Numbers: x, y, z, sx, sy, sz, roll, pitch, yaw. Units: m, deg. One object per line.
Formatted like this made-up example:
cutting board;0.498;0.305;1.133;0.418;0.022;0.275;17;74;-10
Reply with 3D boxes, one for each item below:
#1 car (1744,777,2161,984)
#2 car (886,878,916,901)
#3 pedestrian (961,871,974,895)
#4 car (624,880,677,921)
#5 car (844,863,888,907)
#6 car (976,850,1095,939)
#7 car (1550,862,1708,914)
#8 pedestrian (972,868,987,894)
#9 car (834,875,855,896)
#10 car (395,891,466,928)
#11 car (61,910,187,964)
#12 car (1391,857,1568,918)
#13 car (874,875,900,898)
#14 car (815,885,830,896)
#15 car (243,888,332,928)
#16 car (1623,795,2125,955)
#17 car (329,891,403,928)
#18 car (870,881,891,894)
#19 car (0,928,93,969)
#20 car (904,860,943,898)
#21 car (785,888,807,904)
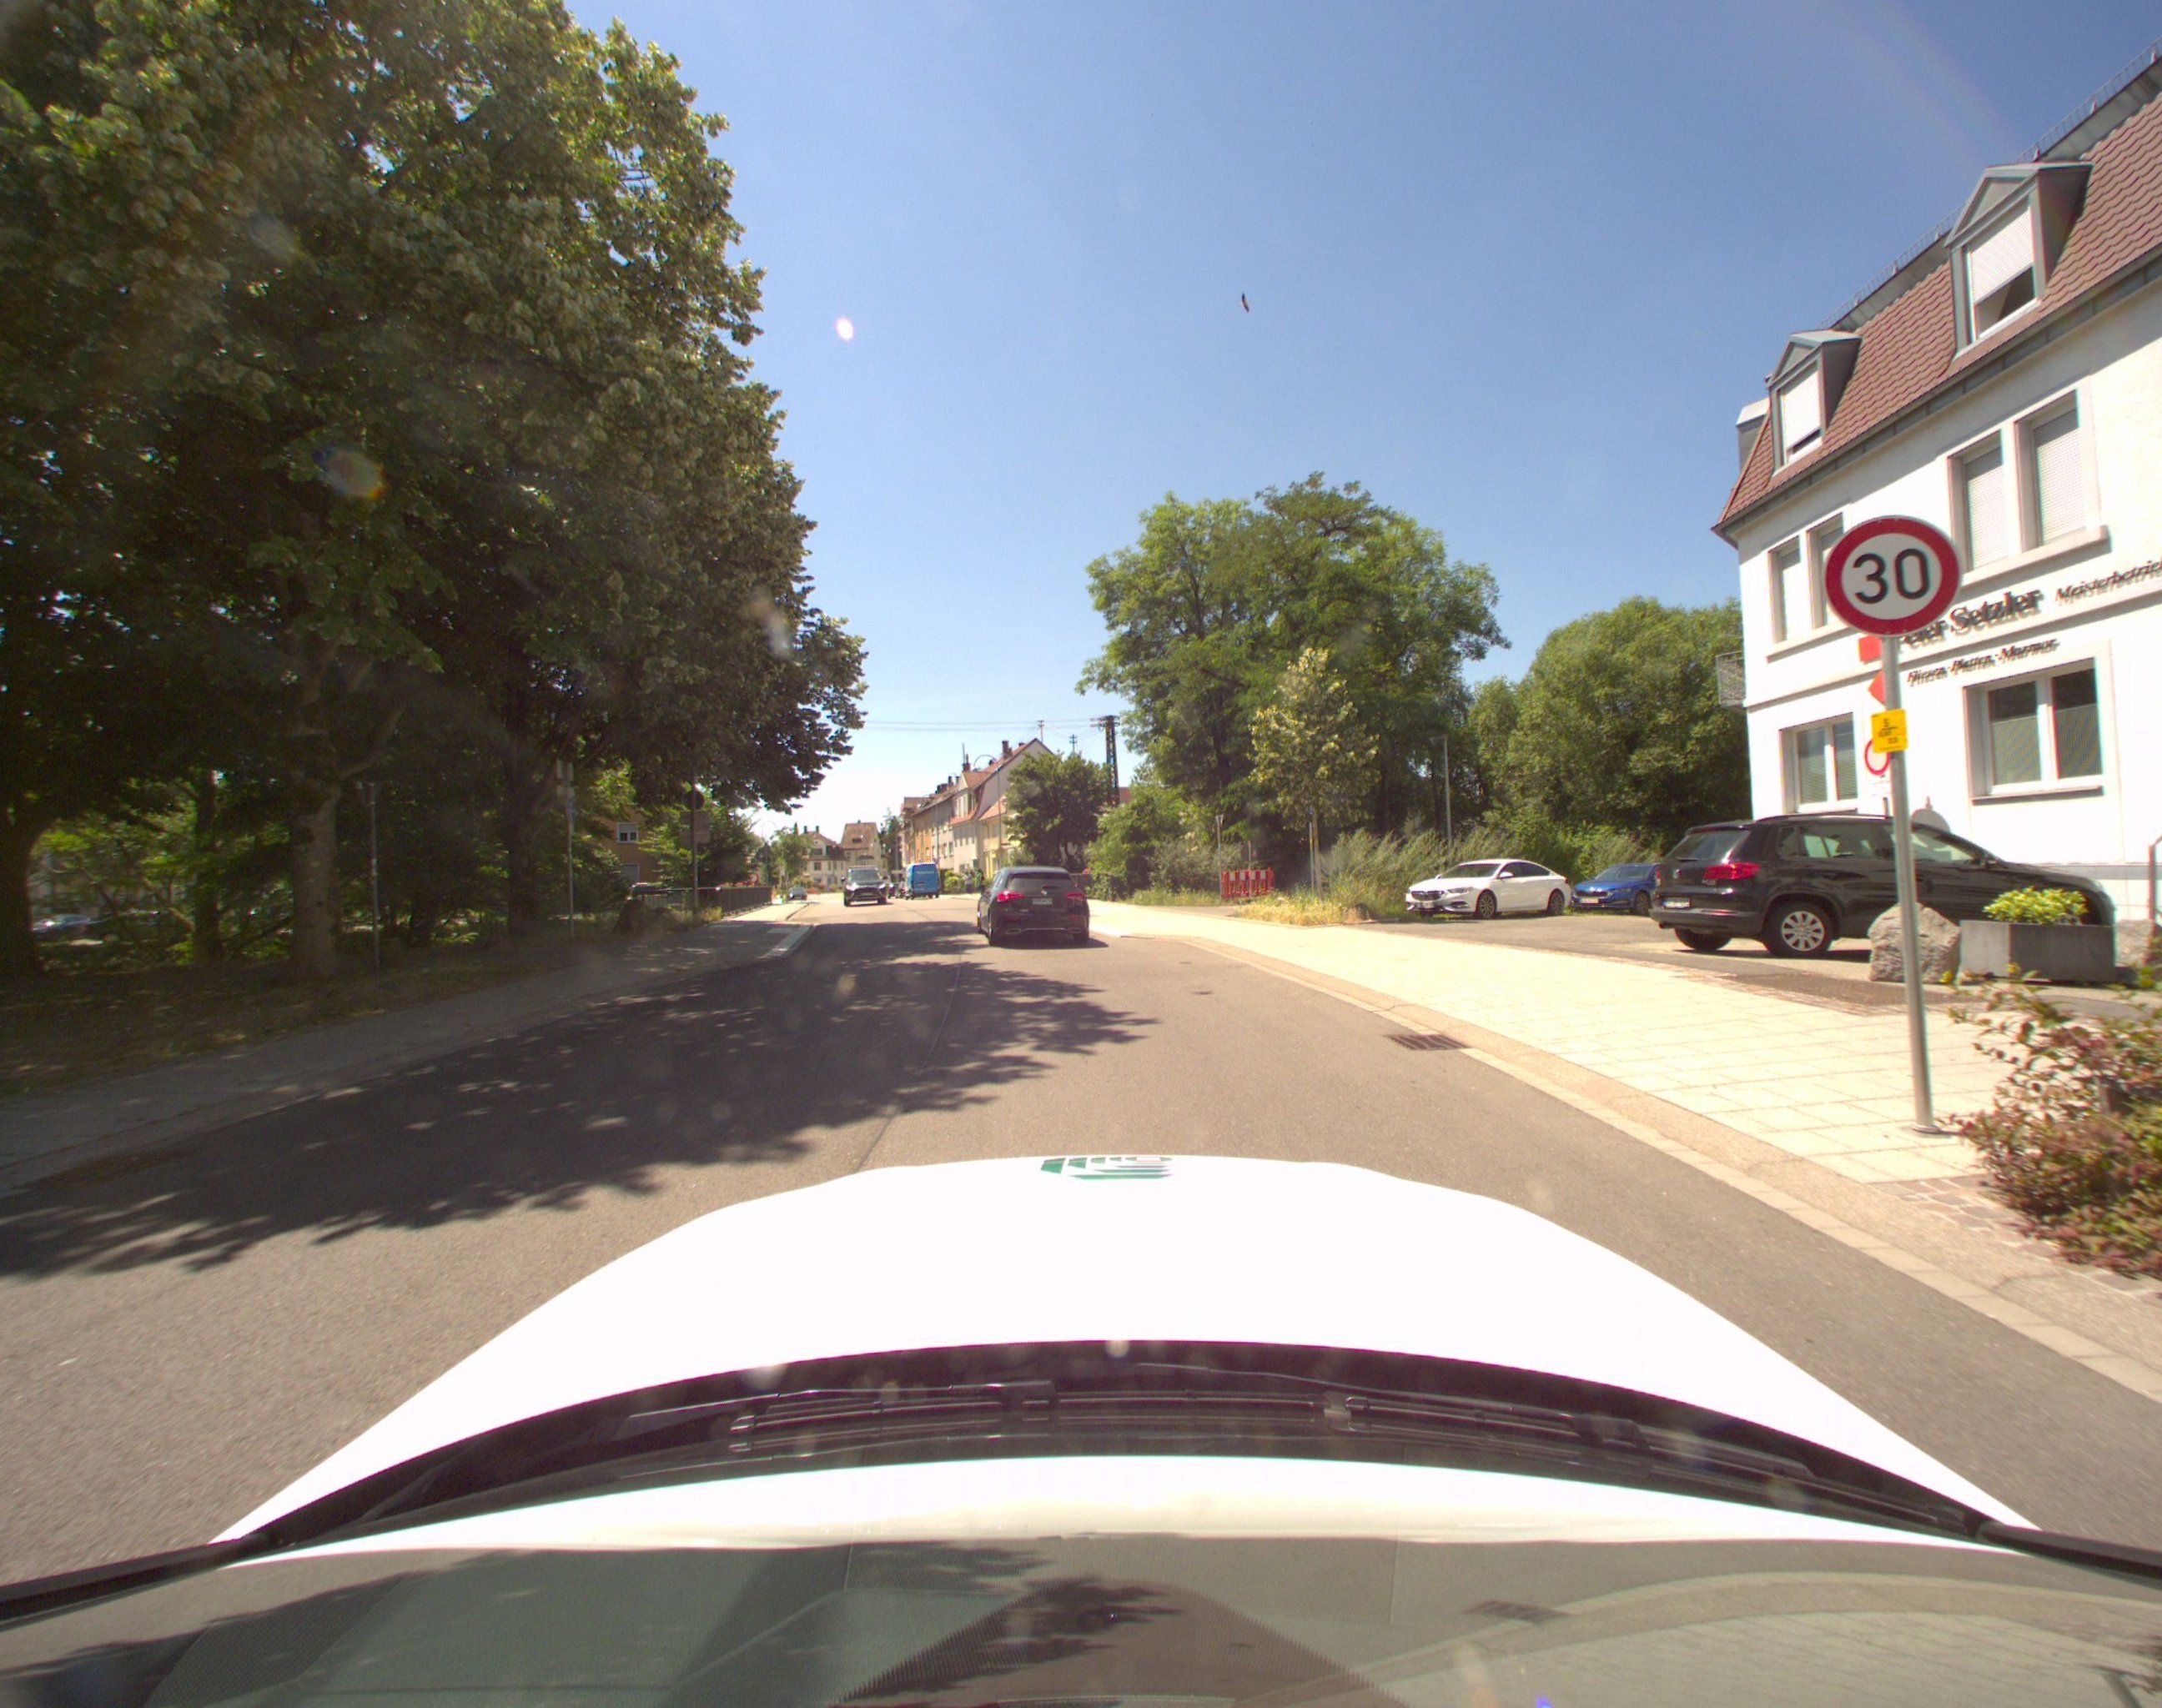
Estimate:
car;9.089;0.233;7.662;4.055;1.716;1.859;-1;-1;5
car;-15.416;2.991;69.528;1.999;1.746;4.301;-1;-1;-19
pedestrian;-7.640;1.962;54.888;0.616;1.613;0.831;-1;-2;-23
car;-23.431;2.503;44.499;2.000;2.014;3.973;-1;-1;-20
car;-9.696;1.360;36.856;1.744;1.772;4.316;-3;-1;-14
car;-1.023;0.812;15.868;1.828;1.442;3.985;-2;-4;-10
car;15.577;0.946;23.151;4.211;1.350;1.844;0;-4;-26
pedestrian;-6.773;1.799;54.198;0.665;1.741;0.694;-1;-2;-36
car;-28.578;3.736;98.401;2.251;2.343;4.822;-1;-1;-18
car;-39.636;3.320;49.719;1.998;2.014;3.977;-1;-1;-17
car;-43.274;3.701;36.969;2.001;2.014;3.972;-1;-1;-20
car;9.748;0.784;19.873;4.215;1.350;1.842;0;-2;-30
car;-18.230;3.033;76.372;1.999;2.014;3.974;-1;-1;-19
car;-38.075;5.361;119.967;1.999;1.660;3.975;1;-2;-18
car;-43.246;2.893;44.502;2.000;2.014;3.972;-1;-2;-20
car;9.221;0.264;9.826;4.055;1.716;1.859;-1;-1;5
car;-42.826;3.301;48.879;2.000;2.014;3.972;-1;-2;-20
car;-23.826;3.981;96.777;1.999;1.392;4.301;-1;-1;-19
car;-53.462;4.824;42.169;2.009;1.684;3.955;-1;-1;-37
car;-11.244;1.787;57.806;2.138;2.541;4.621;-2;-2;-18
car;-29.353;4.309;83.949;1.999;1.660;3.975;1;-2;-18
